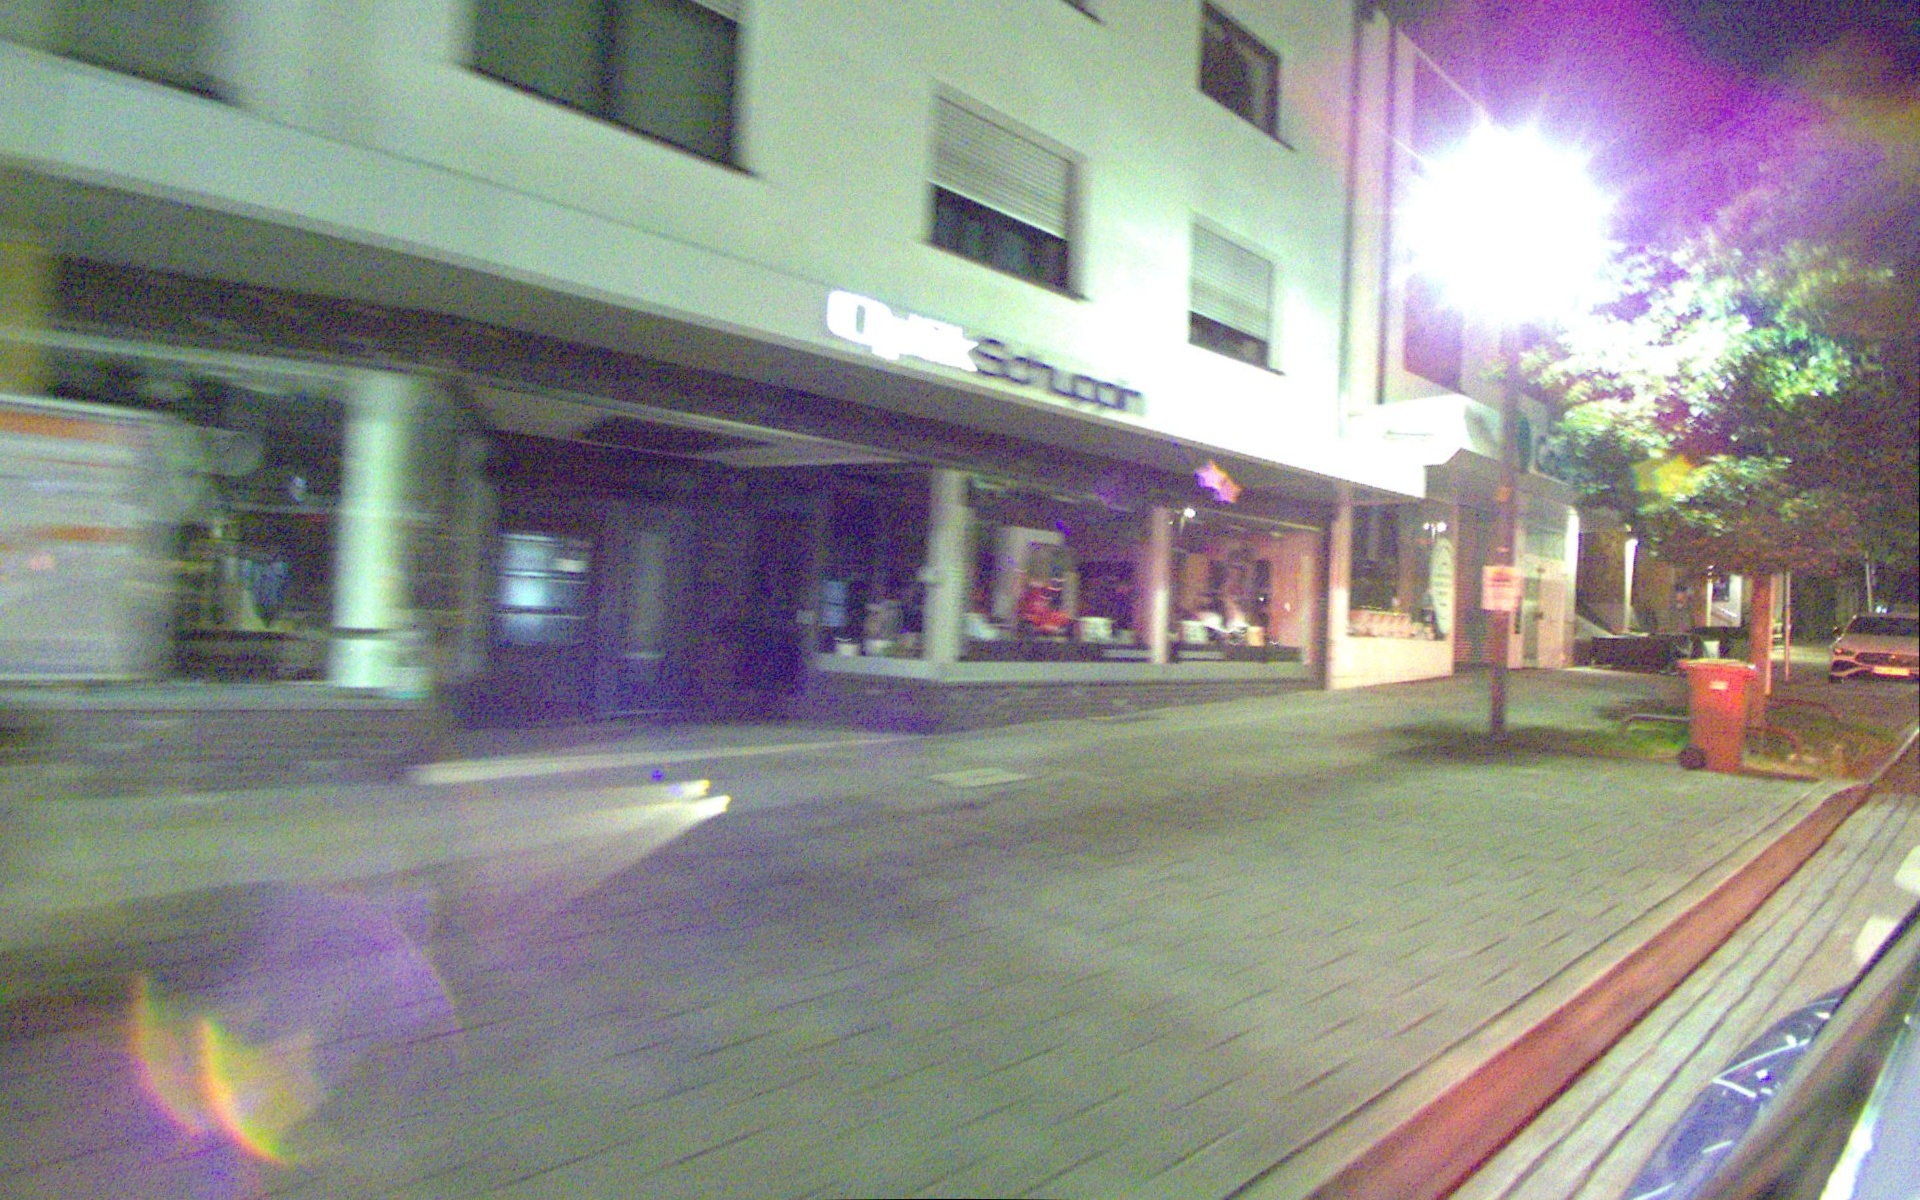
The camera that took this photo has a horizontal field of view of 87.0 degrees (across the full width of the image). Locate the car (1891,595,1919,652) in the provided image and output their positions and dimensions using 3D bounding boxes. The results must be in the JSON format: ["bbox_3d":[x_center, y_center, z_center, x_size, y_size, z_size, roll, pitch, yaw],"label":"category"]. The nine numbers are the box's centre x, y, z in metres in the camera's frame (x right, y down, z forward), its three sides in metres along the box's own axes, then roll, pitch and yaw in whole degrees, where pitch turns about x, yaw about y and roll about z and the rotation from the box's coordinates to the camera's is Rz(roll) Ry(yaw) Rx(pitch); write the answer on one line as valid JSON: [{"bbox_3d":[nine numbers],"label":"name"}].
[{"bbox_3d":[30.205,0.721,31.362,1.788,1.662,4.309,4,3,45],"label":"car"}]

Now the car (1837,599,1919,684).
[{"bbox_3d":[18.862,0.763,20.046,4.519,1.460,1.859,0,3,-45],"label":"car"}]

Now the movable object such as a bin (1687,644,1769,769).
[{"bbox_3d":[6.408,0.864,8.450,0.523,0.949,0.621,0,1,38],"label":"movable object such as a bin"}]

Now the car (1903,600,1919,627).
[{"bbox_3d":[54.950,0.751,57.753,1.638,1.485,3.717,-1,-1,43],"label":"car"}]
